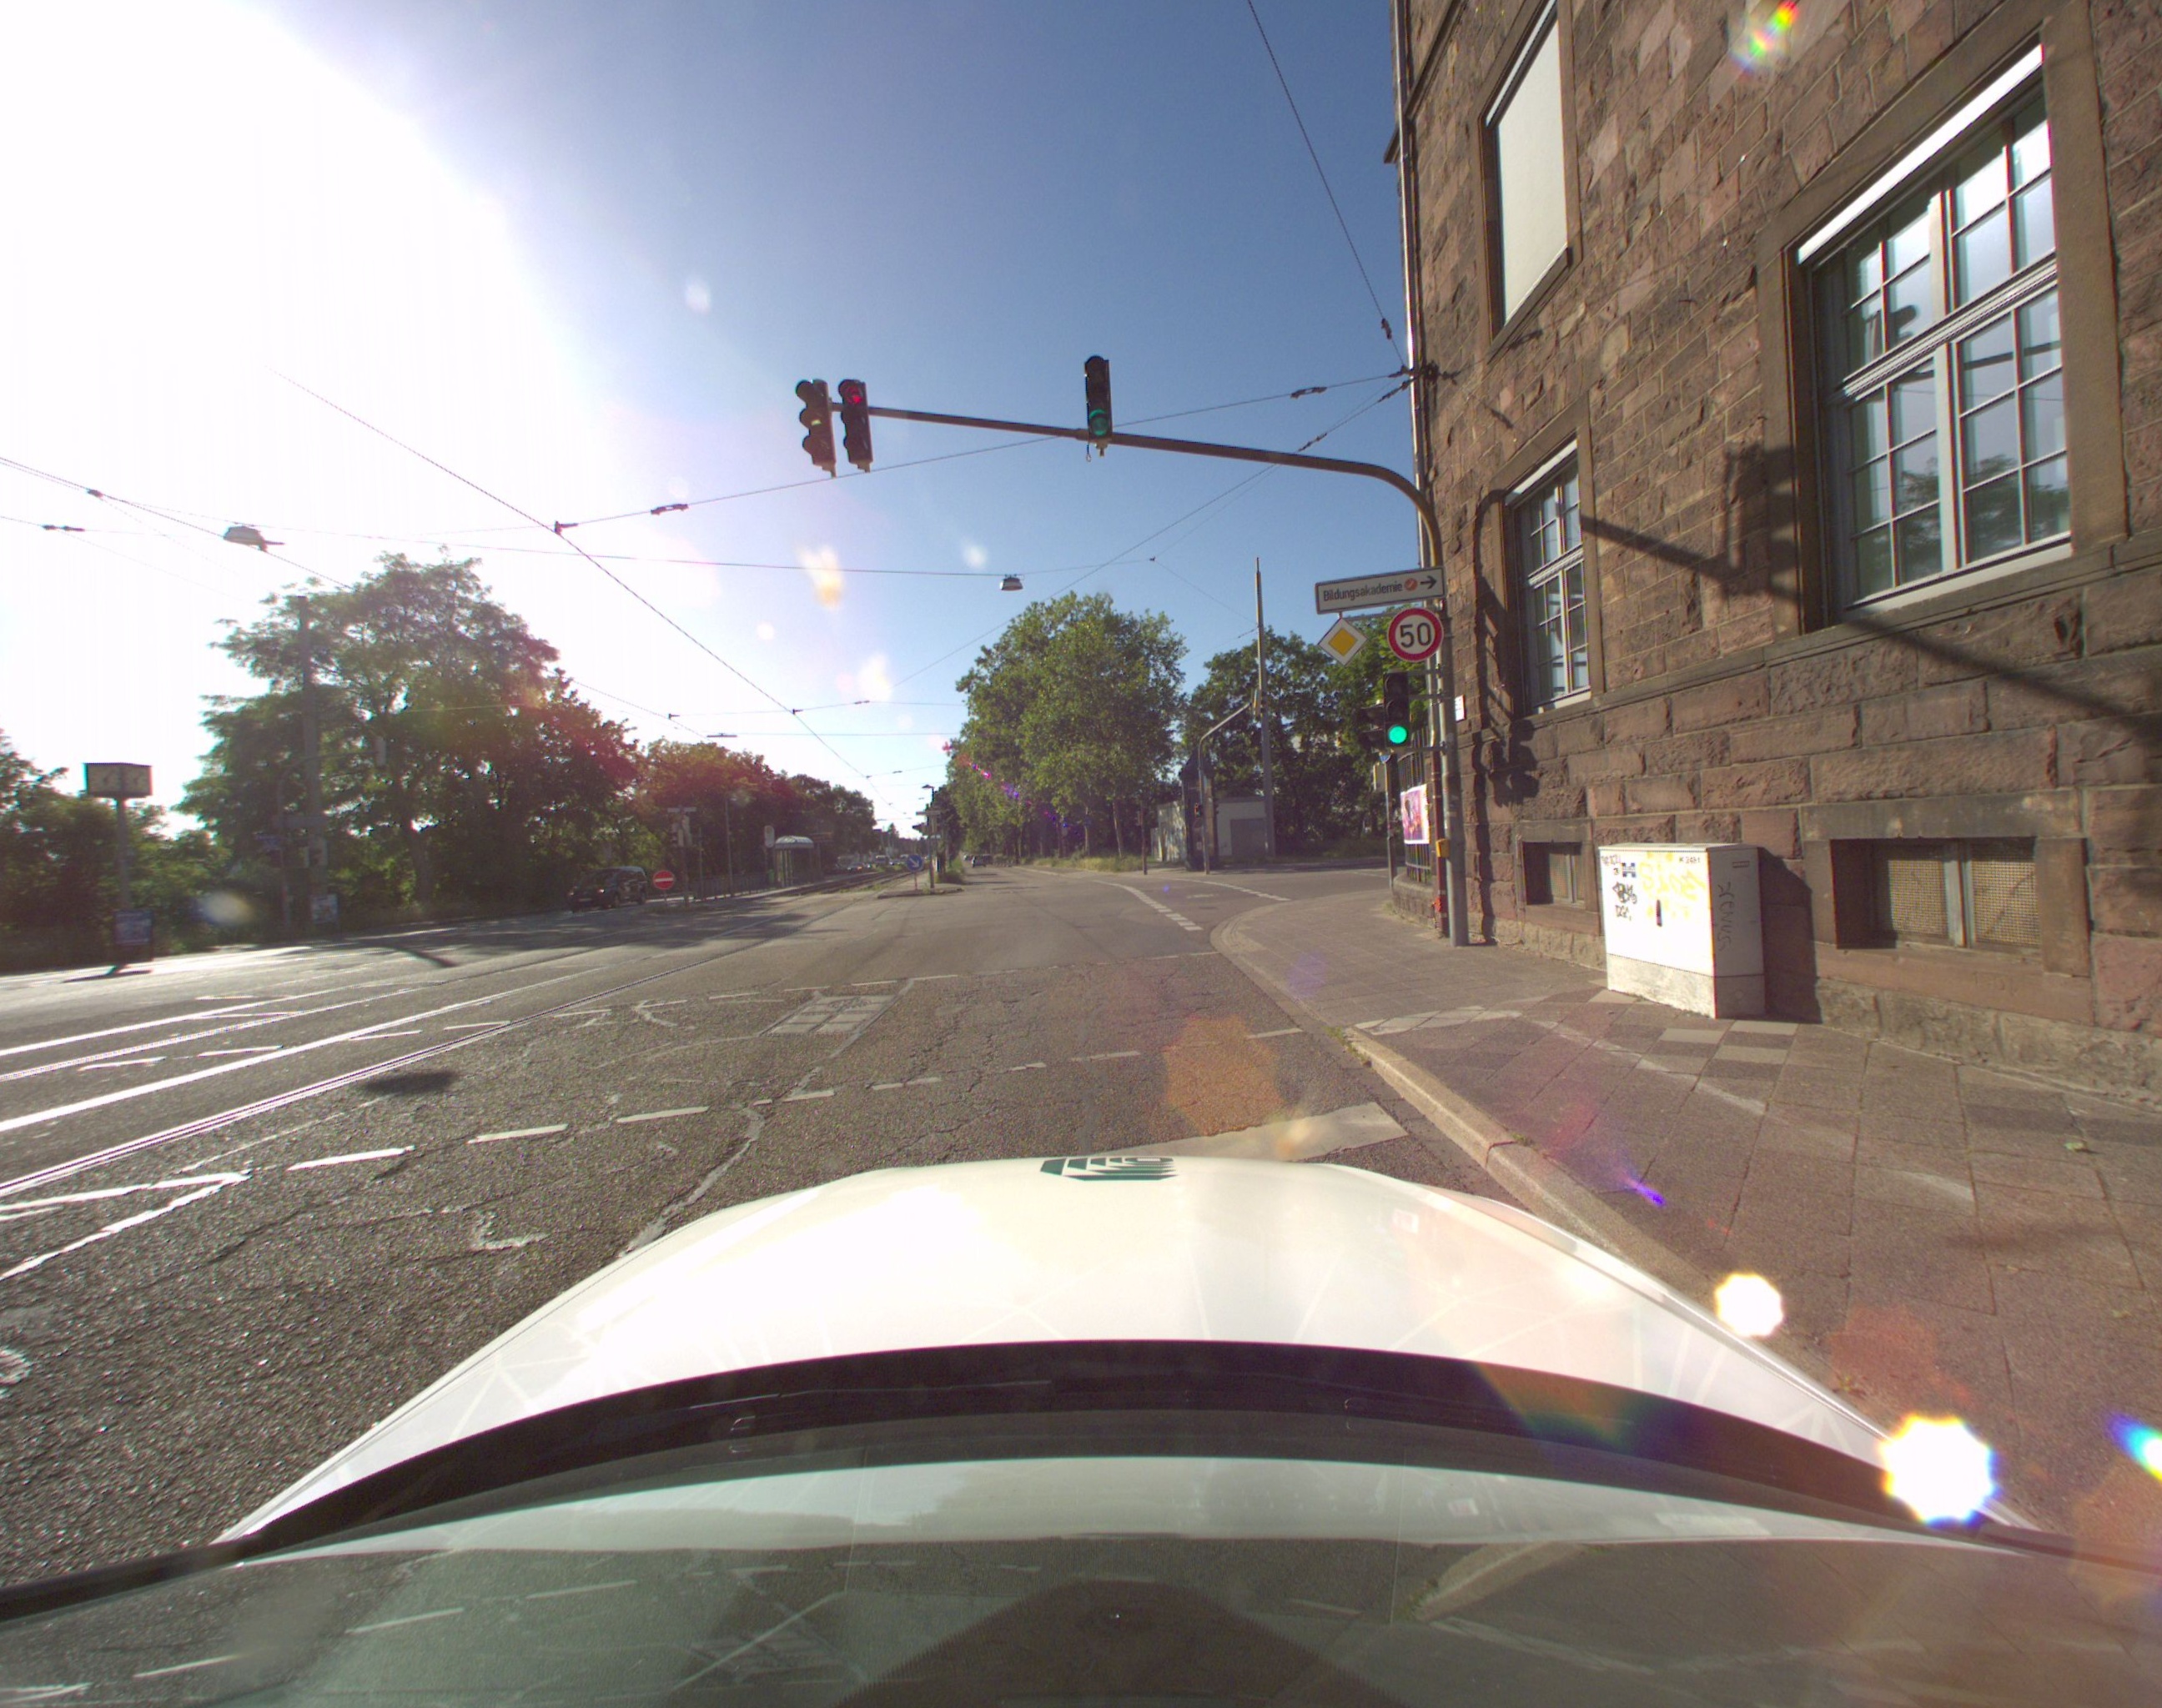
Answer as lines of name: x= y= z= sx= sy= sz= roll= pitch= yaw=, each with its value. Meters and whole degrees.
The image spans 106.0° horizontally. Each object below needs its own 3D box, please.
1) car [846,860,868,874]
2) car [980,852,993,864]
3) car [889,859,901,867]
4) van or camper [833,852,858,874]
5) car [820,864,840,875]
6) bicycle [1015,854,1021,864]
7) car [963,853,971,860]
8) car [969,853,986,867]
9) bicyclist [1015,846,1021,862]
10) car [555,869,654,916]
car: x=-27.408 y=1.558 z=99.574 sx=1.919 sy=1.567 sz=3.990 roll=-4 pitch=0 yaw=-7
car: x=-13.889 y=0.566 z=119.622 sx=1.750 sy=1.604 sz=3.739 roll=-3 pitch=0 yaw=-8
car: x=-36.544 y=1.728 z=159.862 sx=1.994 sy=1.469 sz=4.361 roll=-3 pitch=0 yaw=-10
van or camper: x=-35.835 y=1.297 z=124.208 sx=2.589 sy=3.106 sz=6.768 roll=-4 pitch=0 yaw=-9
car: x=-34.377 y=2.105 z=111.637 sx=1.919 sy=1.266 sz=3.990 roll=-4 pitch=0 yaw=-7
bicycle: x=-7.081 y=0.564 z=91.698 sx=0.536 sy=1.066 sz=1.428 roll=-4 pitch=0 yaw=-10
car: x=-29.845 y=0.617 z=213.351 sx=1.750 sy=1.604 sz=3.569 roll=-4 pitch=0 yaw=-9
car: x=-12.236 y=0.721 z=96.379 sx=1.867 sy=1.486 sz=3.545 roll=-3 pitch=0 yaw=-8
bicyclist: x=-7.110 y=0.019 z=91.731 sx=0.534 sy=1.769 sz=0.710 roll=-4 pitch=0 yaw=-11
car: x=-20.671 y=1.590 z=35.593 sx=1.993 sy=1.767 sz=5.014 roll=-4 pitch=0 yaw=-9
